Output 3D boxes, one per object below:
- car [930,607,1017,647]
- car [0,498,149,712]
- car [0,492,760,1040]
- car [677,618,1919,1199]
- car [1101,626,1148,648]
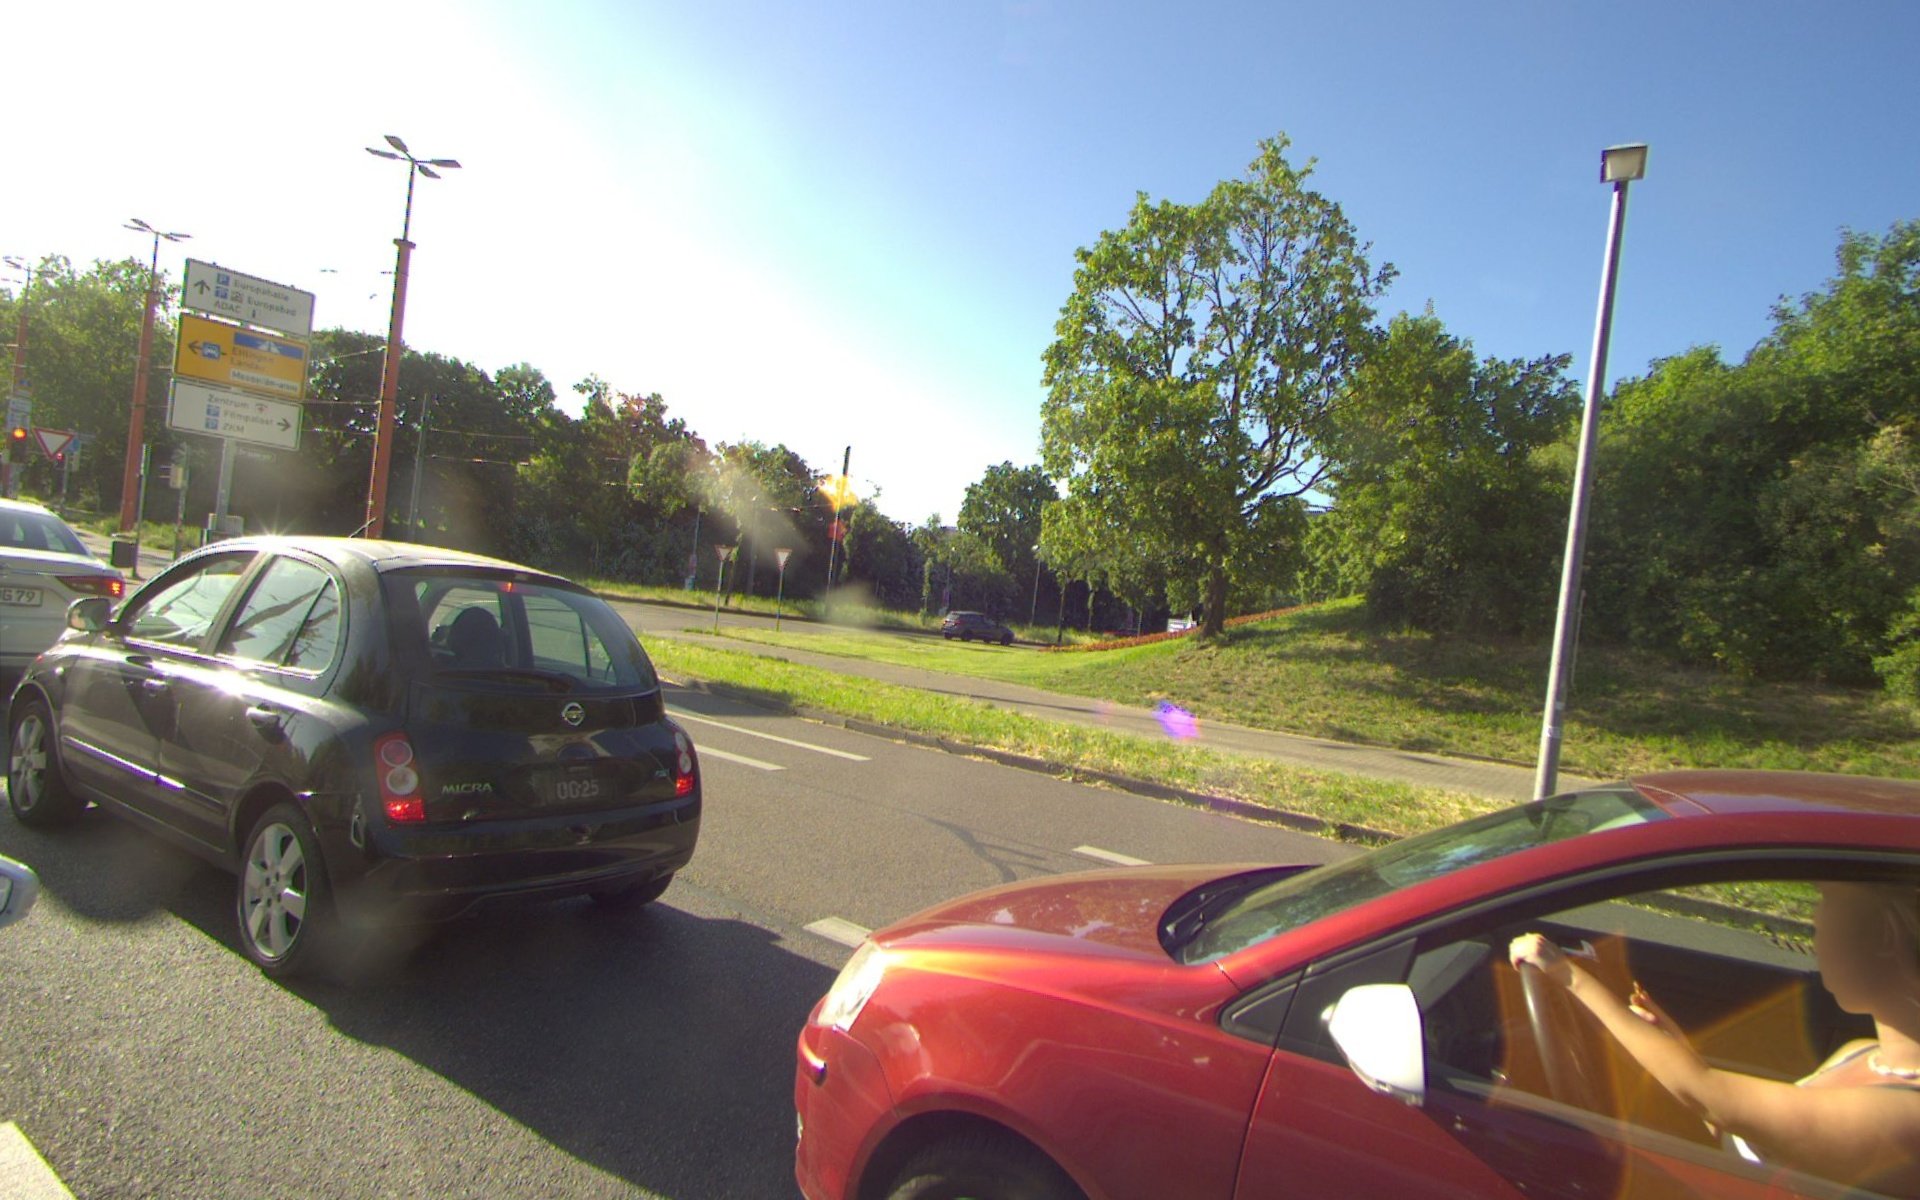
[{"bbox_3d":[0.691,1.326,49.300,3.854,1.486,1.736,8,-1,-33],"label":"car"},{"bbox_3d":[-8.339,-0.161,7.970,4.077,1.472,1.717,7,-1,33],"label":"car"},{"bbox_3d":[-2.814,0.467,4.617,3.457,1.524,1.558,7,0,32],"label":"car"},{"bbox_3d":[1.378,0.993,1.886,3.634,1.434,1.624,7,-1,34],"label":"car"},{"bbox_3d":[13.973,3.152,85.384,3.577,1.383,1.689,8,-1,-32],"label":"car"}]
